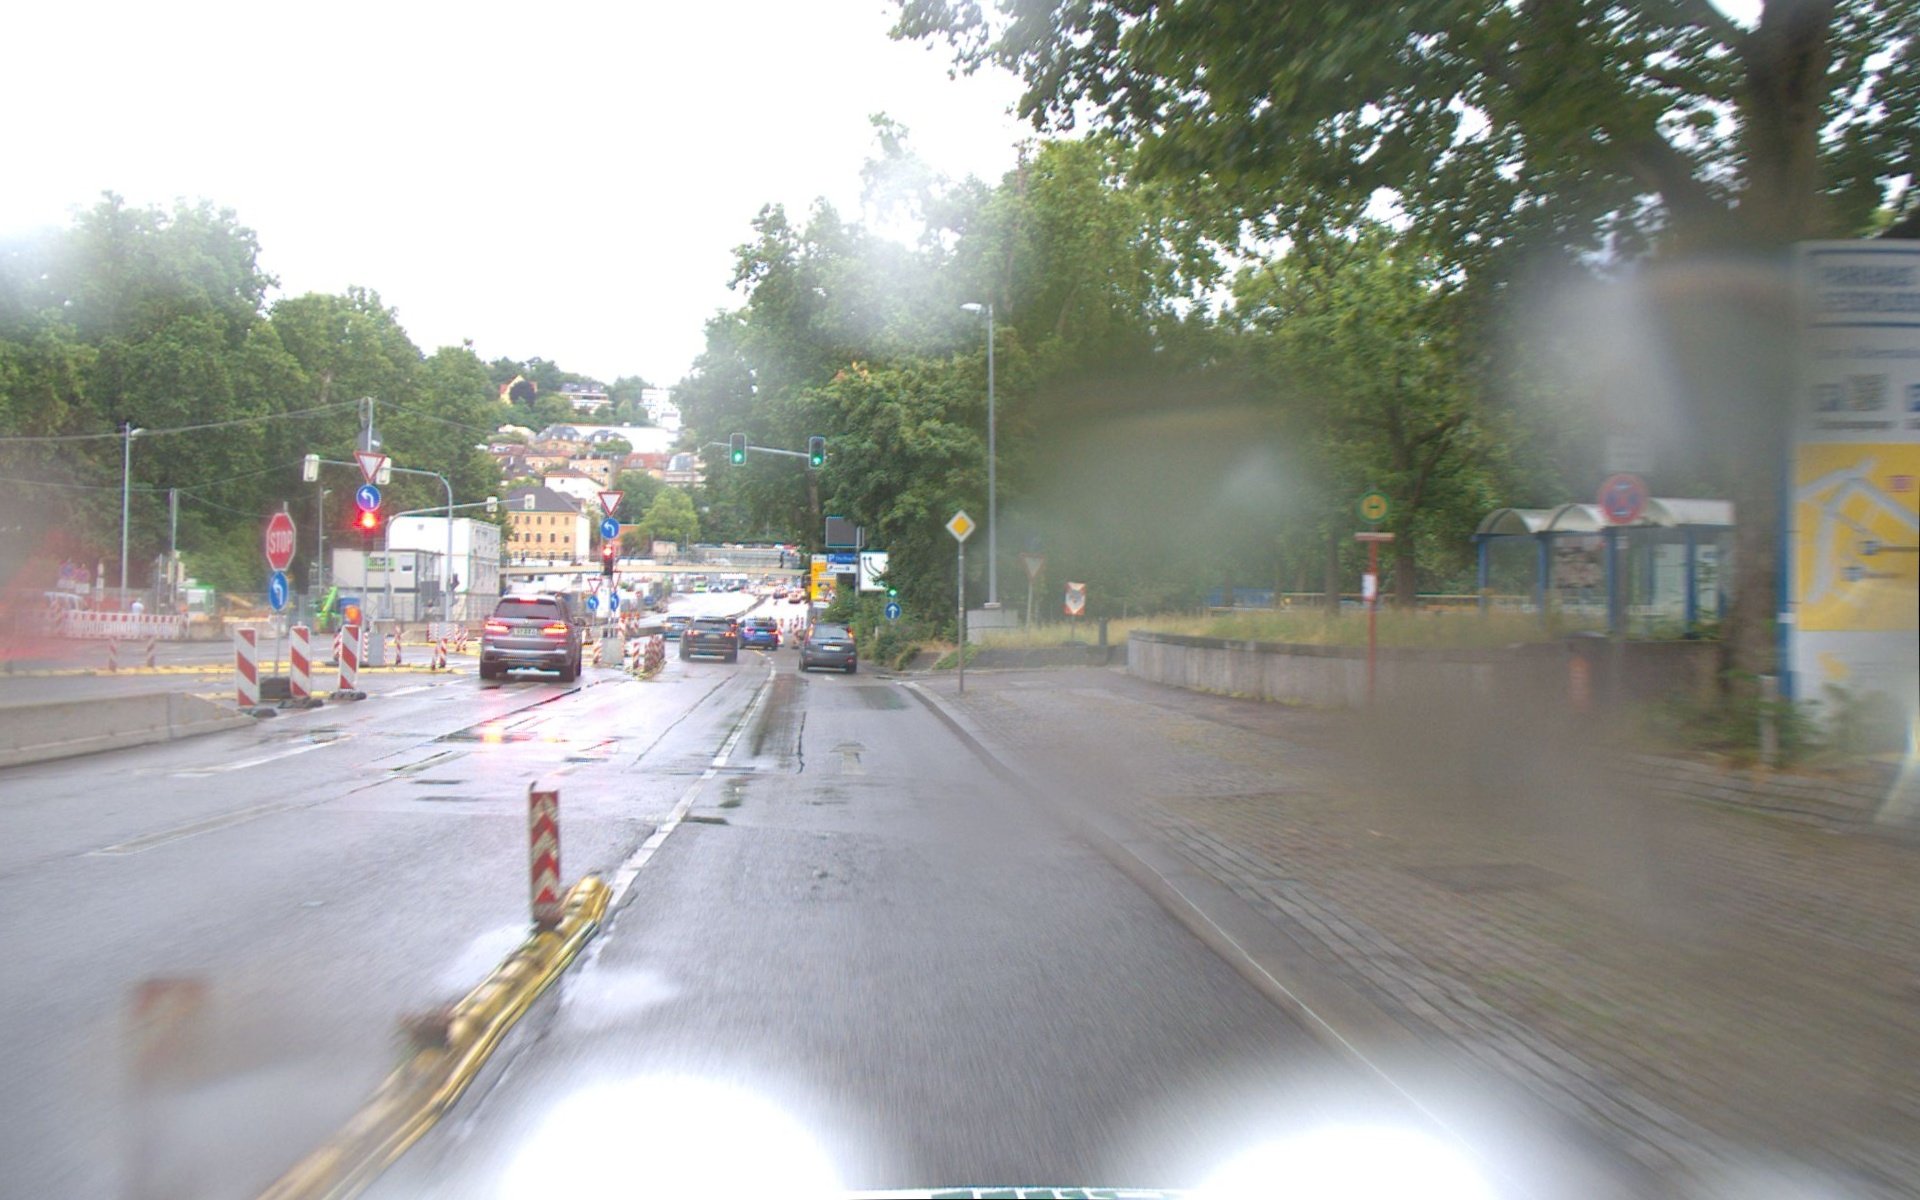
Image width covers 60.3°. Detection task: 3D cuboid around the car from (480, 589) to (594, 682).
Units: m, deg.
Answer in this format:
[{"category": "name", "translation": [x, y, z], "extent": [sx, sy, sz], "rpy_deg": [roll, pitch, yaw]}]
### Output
[{"category": "car", "translation": [-9.224, 0.766, 36.368], "extent": [1.956, 1.859, 3.992], "rpy_deg": [2, -1, -8]}]

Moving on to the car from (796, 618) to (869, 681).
[{"category": "car", "translation": [-3.753, 1.450, 49.252], "extent": [1.814, 1.747, 3.999], "rpy_deg": [2, -1, 0]}]

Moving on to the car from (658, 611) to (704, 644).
[{"category": "car", "translation": [-15.788, 1.569, 93.721], "extent": [1.865, 1.747, 3.999], "rpy_deg": [2, -1, 0]}]

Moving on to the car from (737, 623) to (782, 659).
[{"category": "car", "translation": [-9.509, 1.936, 78.696], "extent": [1.640, 1.609, 3.239], "rpy_deg": [2, -1, 1]}]

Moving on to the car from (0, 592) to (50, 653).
[{"category": "car", "translation": [-38.964, 0.924, 67.492], "extent": [1.882, 2.403, 4.503], "rpy_deg": [-1, -1, -11]}]

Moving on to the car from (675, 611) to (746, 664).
[{"category": "car", "translation": [-8.505, 1.252, 56.728], "extent": [1.793, 1.715, 4.133], "rpy_deg": [1, -1, 0]}]
